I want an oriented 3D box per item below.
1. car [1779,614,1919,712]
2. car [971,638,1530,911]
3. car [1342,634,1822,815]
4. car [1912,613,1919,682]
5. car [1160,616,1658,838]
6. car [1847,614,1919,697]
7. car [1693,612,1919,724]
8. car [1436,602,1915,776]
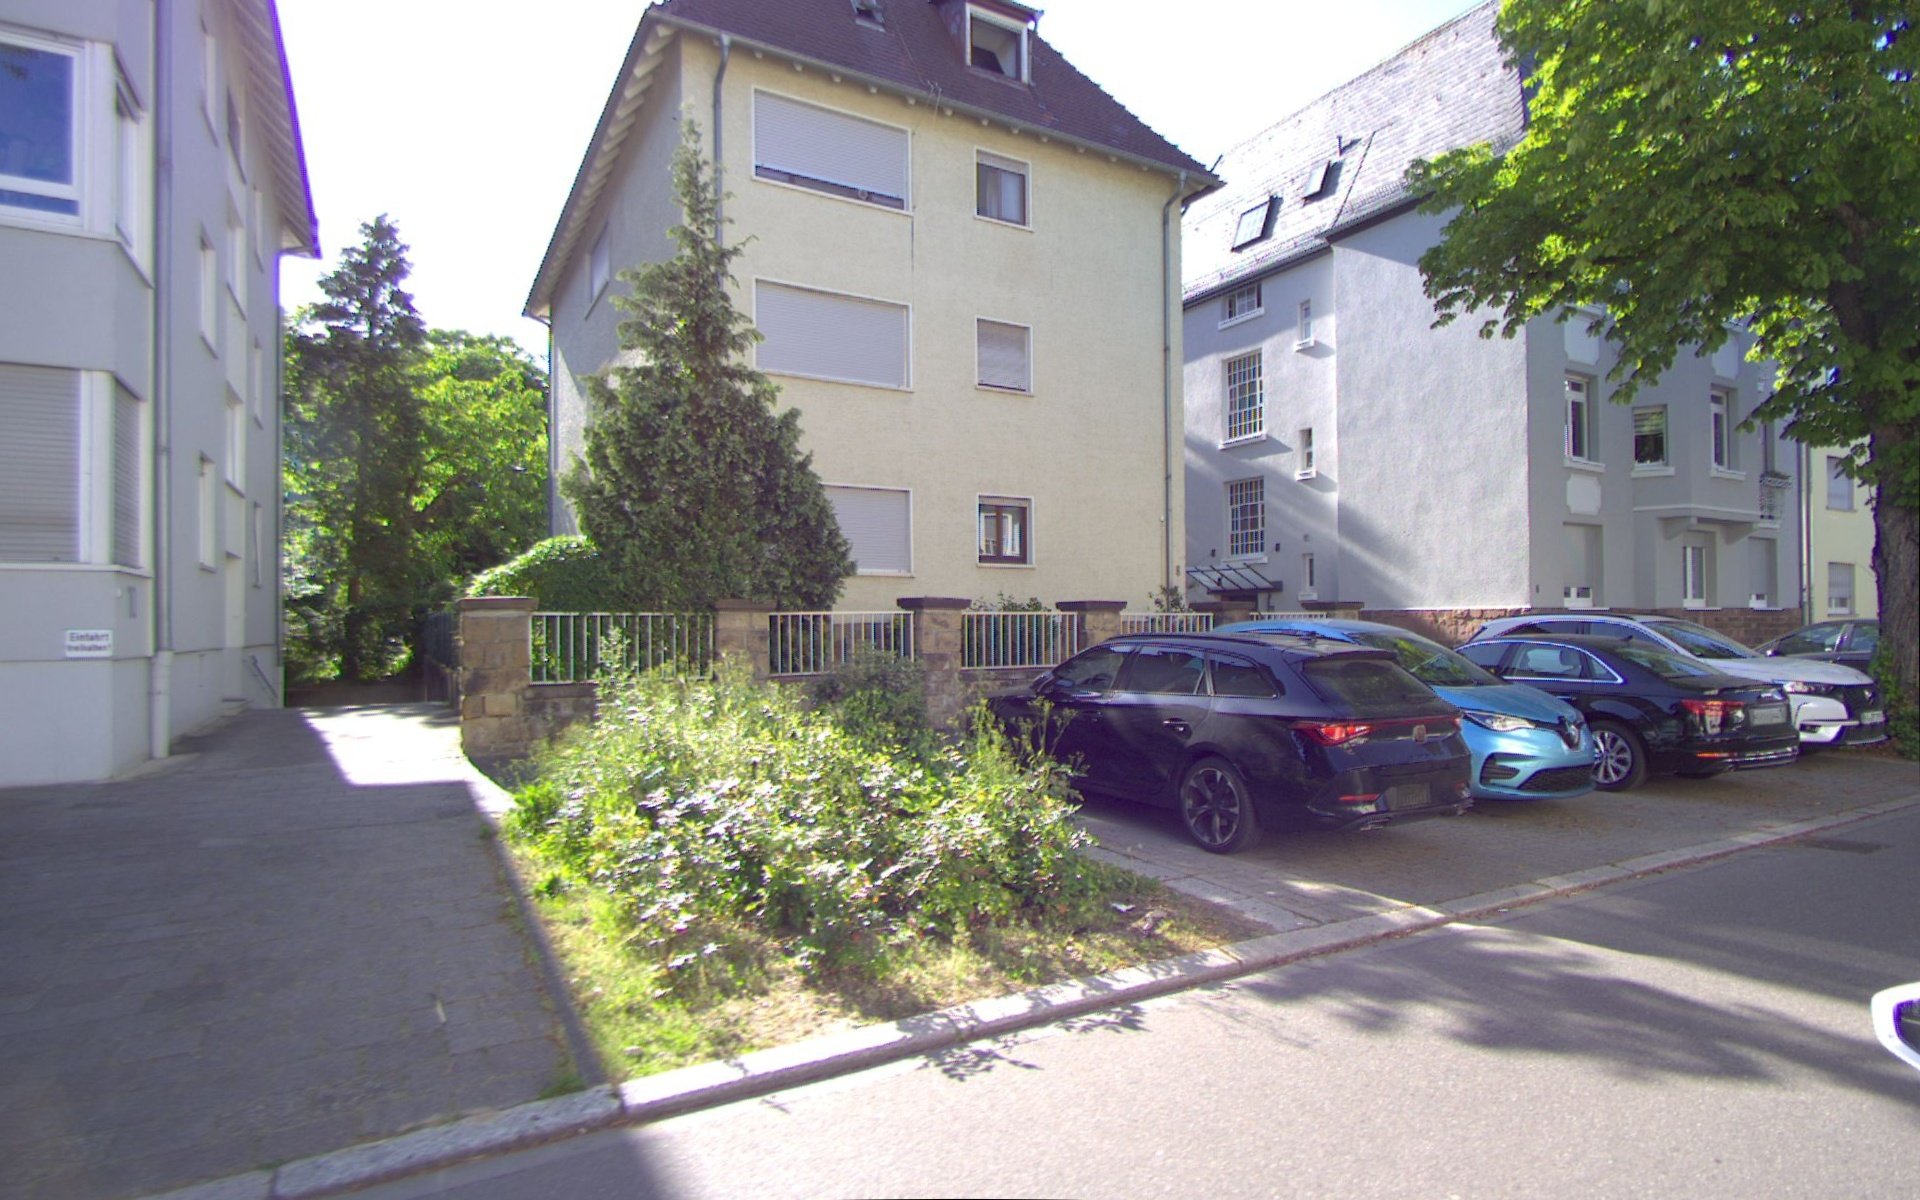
[{"bbox_3d":[16.645,1.068,17.336,1.748,1.596,3.502,0,0,-27],"label":"car"},{"bbox_3d":[1.944,1.080,8.012,1.840,1.518,4.167,0,-2,-31],"label":"car"},{"bbox_3d":[6.223,1.111,10.549,1.677,1.488,3.969,0,-2,-30],"label":"car"},{"bbox_3d":[22.174,1.052,20.356,1.785,1.463,3.989,1,0,-39],"label":"car"},{"bbox_3d":[3.956,0.991,9.524,1.857,1.613,3.967,0,-2,-31],"label":"car"},{"bbox_3d":[18.977,1.045,18.197,1.785,1.504,4.003,0,0,-30],"label":"car"},{"bbox_3d":[14.379,1.007,15.983,1.955,1.596,3.973,0,0,-27],"label":"car"},{"bbox_3d":[8.362,0.978,12.239,1.800,1.674,4.369,-1,-2,-28],"label":"car"}]
